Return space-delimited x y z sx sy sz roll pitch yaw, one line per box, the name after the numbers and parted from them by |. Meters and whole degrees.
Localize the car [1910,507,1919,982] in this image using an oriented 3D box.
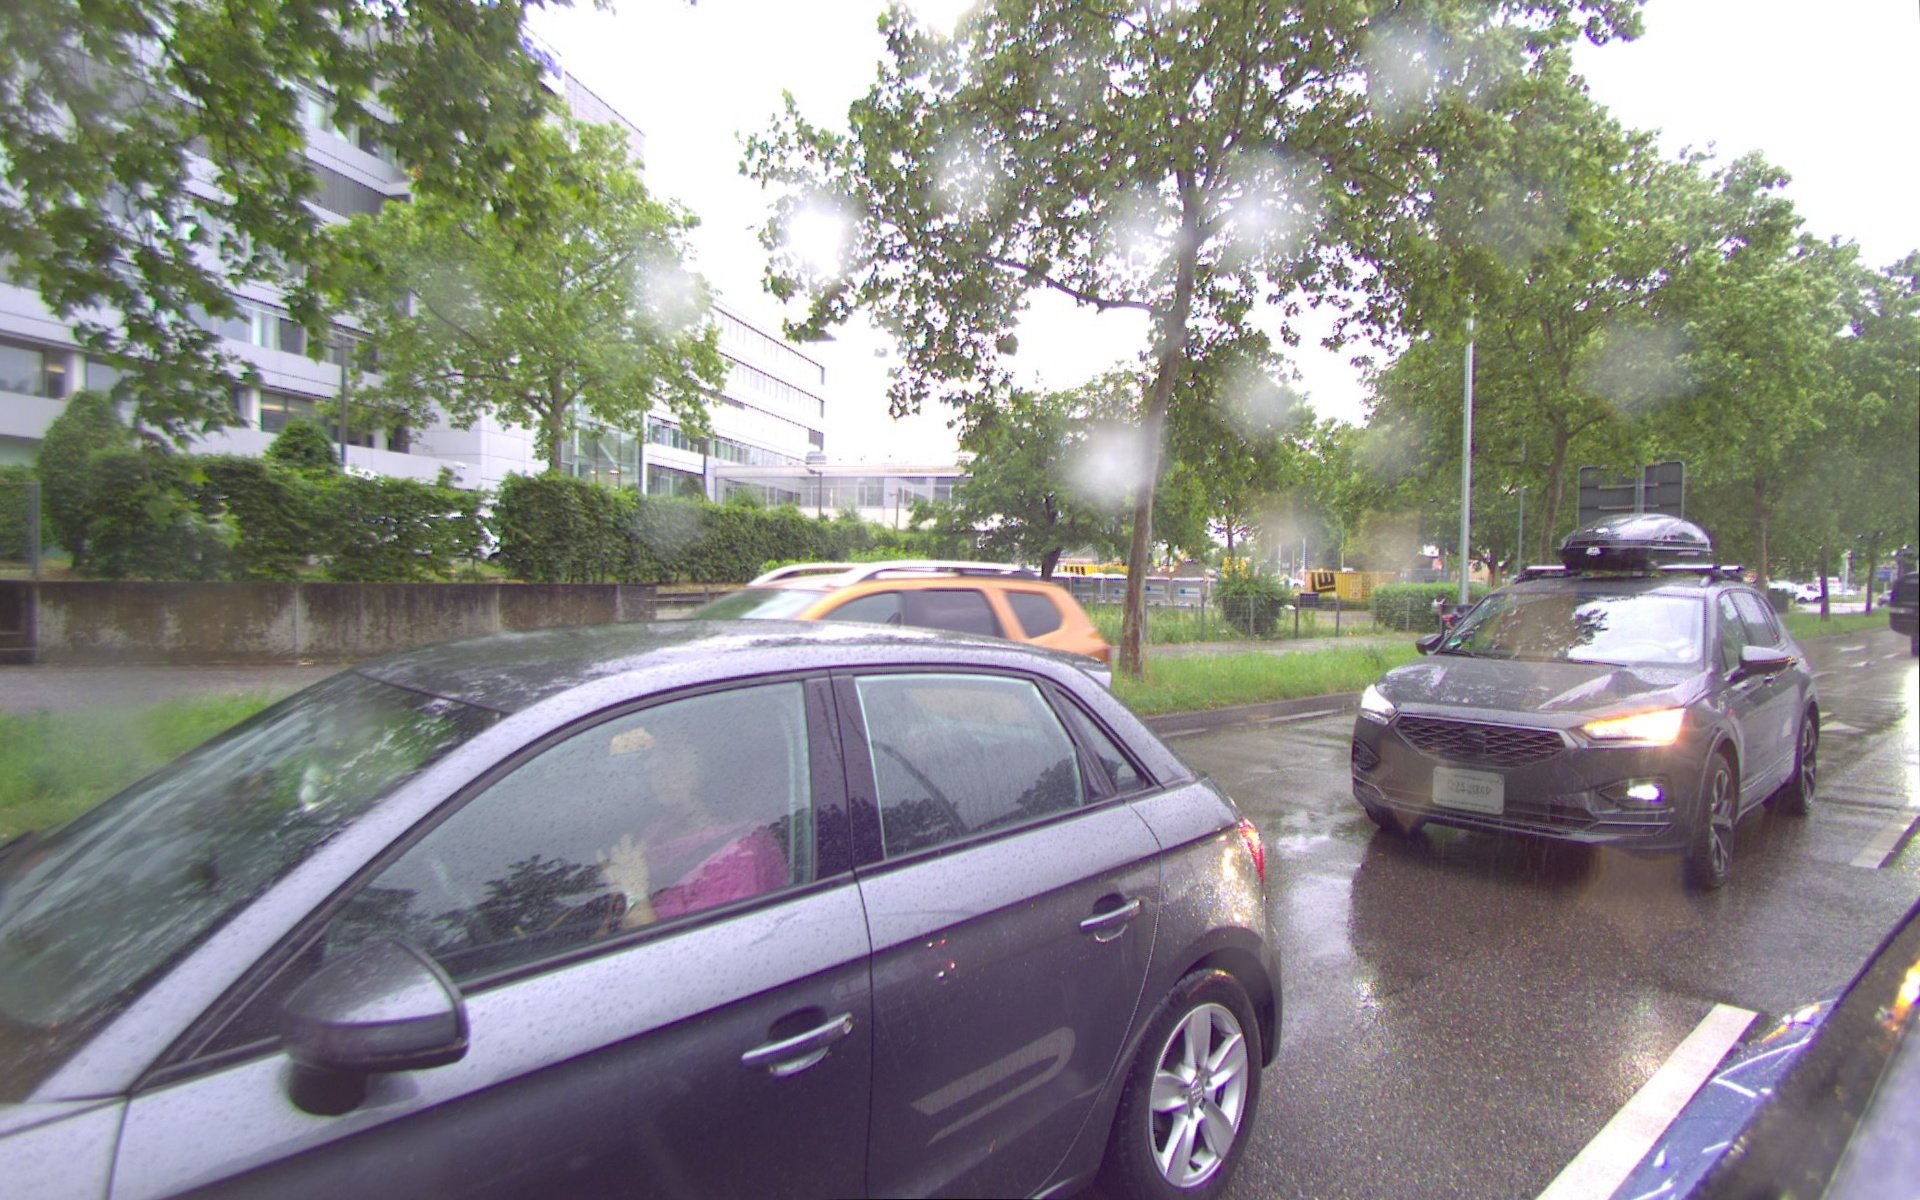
6.319 0.176 4.952 5.599 2.544 2.024 0 1 -43 | car

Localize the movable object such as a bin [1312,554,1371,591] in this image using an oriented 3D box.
36.111 -2.569 95.823 4.839 3.478 1.920 0 0 -5 | movable object such as a bin

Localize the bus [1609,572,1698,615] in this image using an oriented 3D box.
43.725 -0.416 63.911 1.681 2.600 4.366 0 0 -41 | bus

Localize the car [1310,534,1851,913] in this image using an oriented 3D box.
4.331 0.535 6.749 4.347 1.719 1.892 0 1 -42 | car

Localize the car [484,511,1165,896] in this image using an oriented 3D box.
-0.631 0.483 6.472 4.074 1.707 1.677 1 -1 -41 | car

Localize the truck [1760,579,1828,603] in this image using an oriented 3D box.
85.194 -0.911 103.459 4.988 2.406 1.785 0 0 19 | truck

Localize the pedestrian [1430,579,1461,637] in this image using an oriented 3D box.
14.697 0.239 30.655 0.645 1.738 0.645 0 0 -40 | pedestrian

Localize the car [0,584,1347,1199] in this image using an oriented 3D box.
-0.903 0.701 2.146 3.715 1.446 1.679 0 1 -41 | car
